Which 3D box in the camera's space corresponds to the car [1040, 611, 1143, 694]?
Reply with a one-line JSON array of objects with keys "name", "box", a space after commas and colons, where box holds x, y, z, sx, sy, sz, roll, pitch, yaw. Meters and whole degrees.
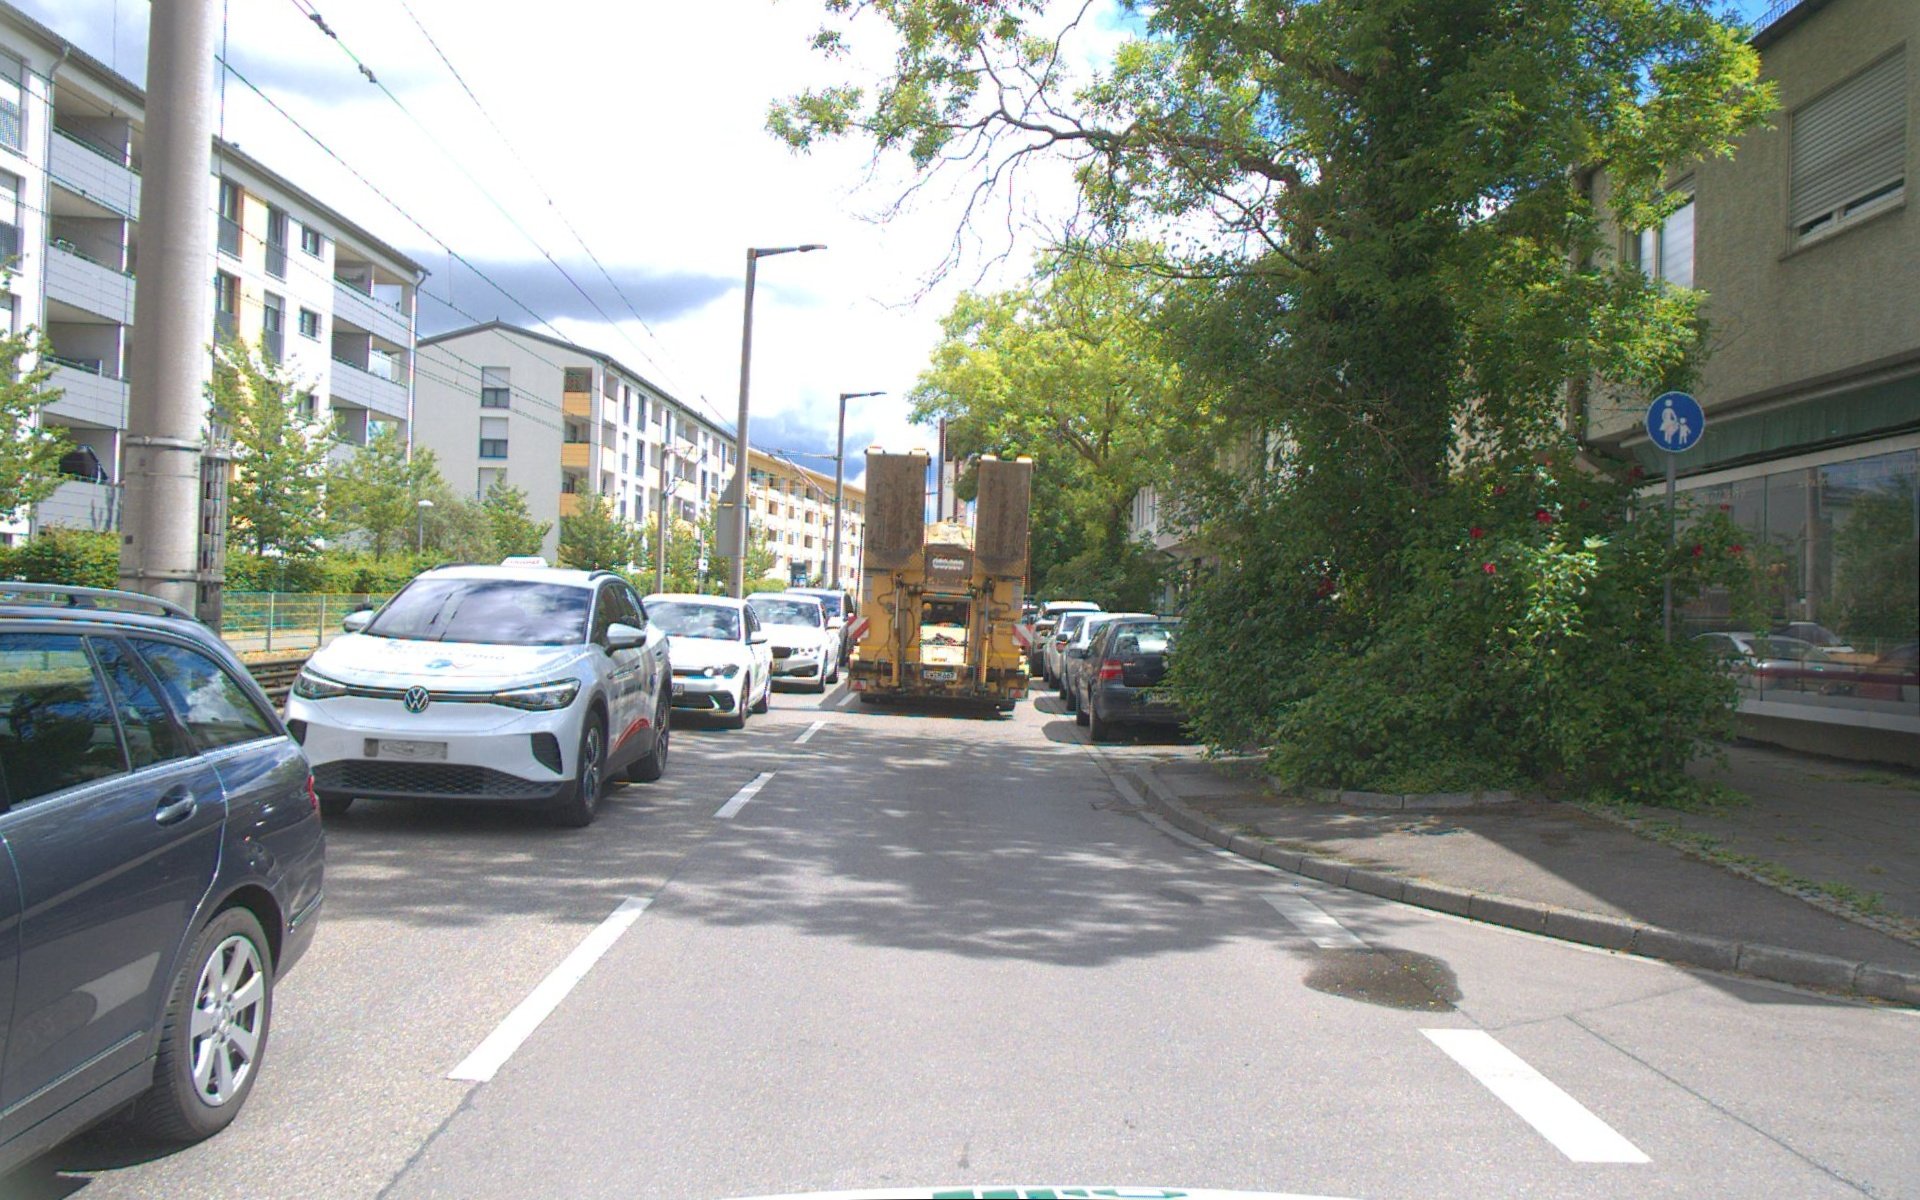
[{"name": "car", "box": [2.537, 0.981, 32.734, 1.689, 1.451, 4.446, 2, 0, 1]}]

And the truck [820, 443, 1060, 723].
[{"name": "truck", "box": [-0.255, -0.226, 28.376, 3.060, 3.626, 12.459, 2, 0, 0]}]

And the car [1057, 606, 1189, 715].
[{"name": "car", "box": [2.547, 0.898, 26.847, 1.776, 1.525, 4.912, 2, 0, 2]}]

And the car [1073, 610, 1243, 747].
[{"name": "car", "box": [2.414, 0.917, 21.077, 1.776, 1.489, 4.042, 2, 0, 2]}]

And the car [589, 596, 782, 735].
[{"name": "car", "box": [-3.154, 0.702, 19.704, 1.711, 1.431, 3.939, 2, 0, -2]}]

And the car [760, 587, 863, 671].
[{"name": "car", "box": [-3.230, 0.608, 36.835, 1.780, 1.642, 4.601, 3, 0, 0]}]

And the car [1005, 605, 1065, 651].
[{"name": "car", "box": [2.347, 0.832, 50.821, 1.734, 1.373, 4.002, 0, 0, 4]}]

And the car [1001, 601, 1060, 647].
[{"name": "car", "box": [2.368, 0.794, 56.115, 1.735, 1.467, 3.898, 0, 0, -2]}]

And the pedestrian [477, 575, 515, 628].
[{"name": "pedestrian", "box": [-13.596, 0.055, 48.499, 0.780, 1.509, 0.995, 2, 0, -1]}]

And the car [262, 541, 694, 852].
[{"name": "car", "box": [-3.122, 0.557, 11.723, 1.820, 1.720, 4.432, 2, 0, -2]}]

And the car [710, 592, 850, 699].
[{"name": "car", "box": [-2.901, 0.689, 27.589, 1.780, 1.528, 4.836, 3, 0, -1]}]

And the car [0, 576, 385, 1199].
[{"name": "car", "box": [-2.796, 0.669, 3.154, 1.774, 1.470, 4.465, 2, 0, 0]}]

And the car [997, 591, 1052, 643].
[{"name": "car", "box": [2.431, 0.622, 62.728, 1.973, 1.820, 5.077, 1, 0, 2]}]

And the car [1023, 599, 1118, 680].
[{"name": "car", "box": [2.475, 0.861, 38.059, 1.800, 1.672, 4.429, 2, 0, 0]}]
